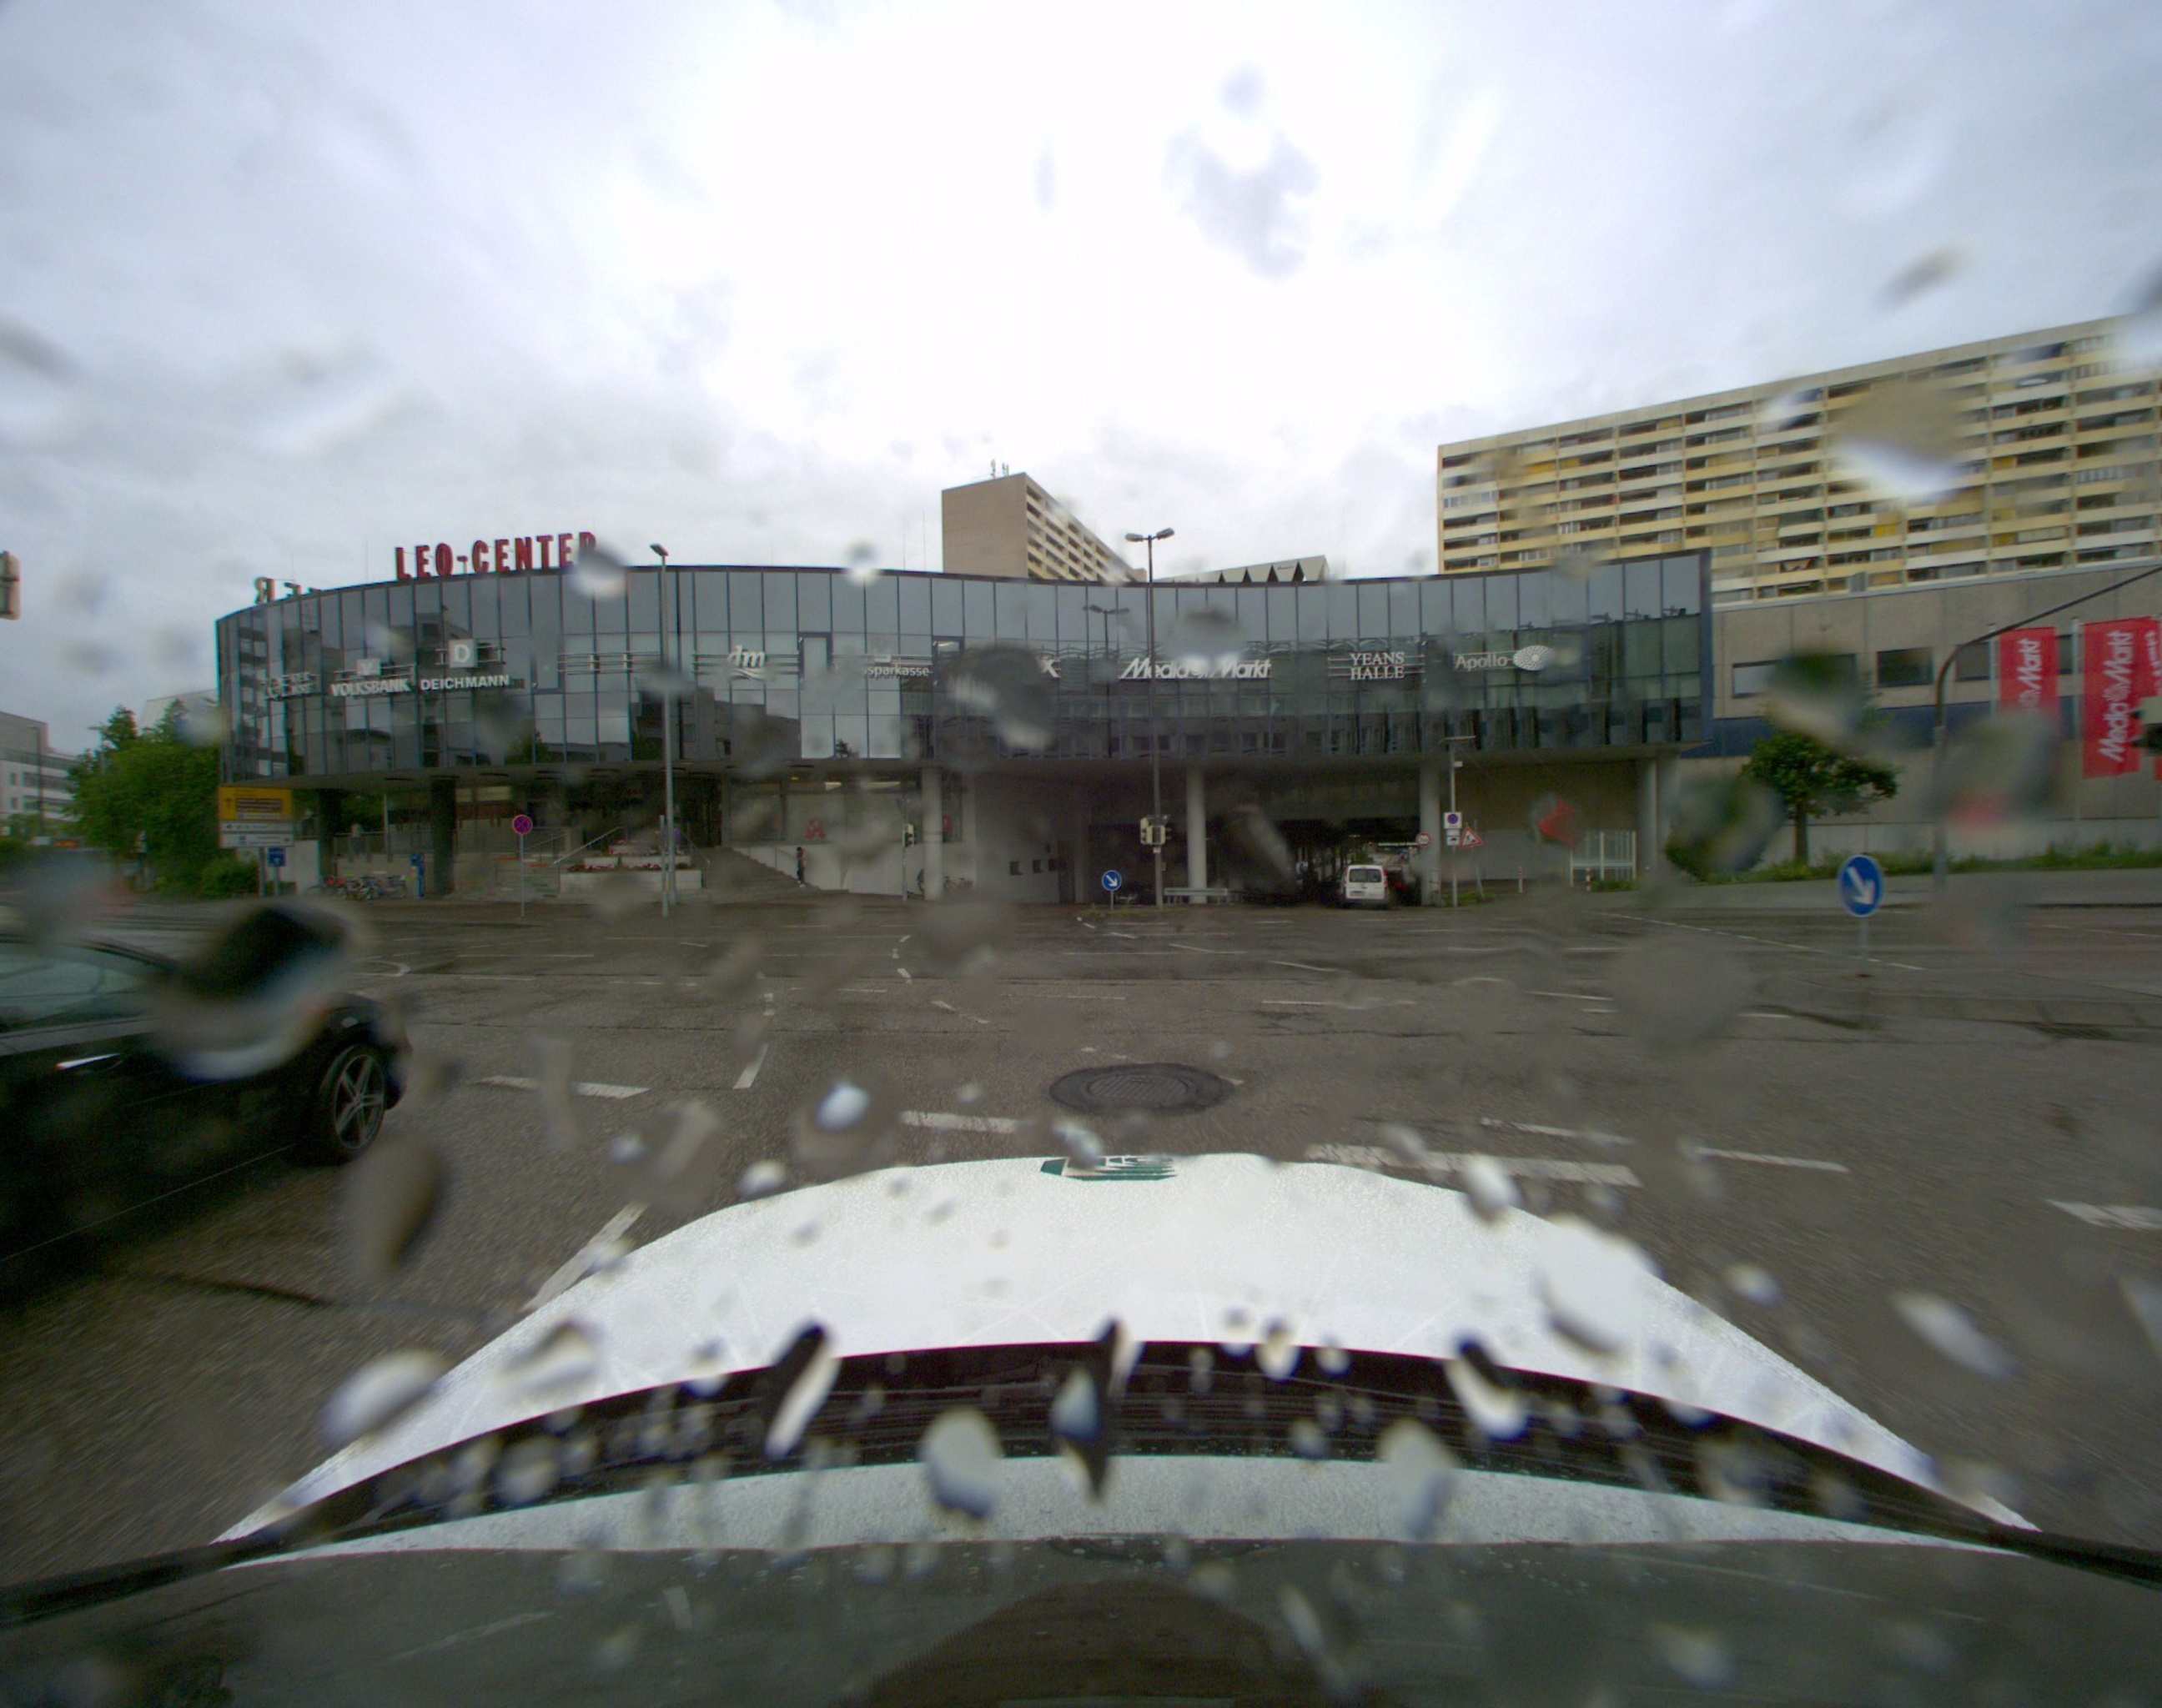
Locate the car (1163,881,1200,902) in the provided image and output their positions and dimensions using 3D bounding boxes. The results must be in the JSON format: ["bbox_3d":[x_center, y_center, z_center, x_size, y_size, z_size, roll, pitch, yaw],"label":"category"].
[{"bbox_3d":[7.389,2.741,59.634,1.755,1.464,3.895,-2,-2,21],"label":"car"}]

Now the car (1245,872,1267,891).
[{"bbox_3d":[17.310,2.725,80.471,1.822,1.727,4.018,-1,0,17],"label":"car"}]

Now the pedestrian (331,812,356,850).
[{"bbox_3d":[-33.875,-1.068,37.395,0.592,1.713,0.658,1,0,29],"label":"pedestrian"}]

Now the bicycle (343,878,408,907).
[{"bbox_3d":[-28.810,1.555,33.272,0.624,1.023,1.866,-2,2,24],"label":"bicycle"}]

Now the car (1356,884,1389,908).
[{"bbox_3d":[17.959,2.570,50.100,1.764,1.400,4.020,-2,-2,21],"label":"car"}]

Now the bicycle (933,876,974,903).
[{"bbox_3d":[-5.451,1.514,34.854,1.589,1.018,0.448,6,-2,-25],"label":"bicycle"}]

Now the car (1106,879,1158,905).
[{"bbox_3d":[3.083,2.266,48.074,1.876,1.470,4.047,-1,-4,22],"label":"car"}]

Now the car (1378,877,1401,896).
[{"bbox_3d":[28.151,2.945,74.396,1.872,1.491,3.859,1,0,19],"label":"car"}]

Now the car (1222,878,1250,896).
[{"bbox_3d":[14.471,3.059,75.971,1.898,1.588,3.959,-2,-1,21],"label":"car"}]

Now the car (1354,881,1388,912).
[{"bbox_3d":[16.120,2.379,45.110,1.619,1.612,4.283,-2,-4,21],"label":"car"}]

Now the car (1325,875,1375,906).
[{"bbox_3d":[13.518,1.869,40.801,1.741,1.464,3.965,-2,-4,26],"label":"car"}]

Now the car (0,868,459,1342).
[{"bbox_3d":[-4.423,0.848,2.972,1.662,1.481,4.081,0,0,-9],"label":"car"}]

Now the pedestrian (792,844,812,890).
[{"bbox_3d":[-11.624,0.545,33.945,0.654,1.908,0.594,0,0,-3],"label":"pedestrian"}]

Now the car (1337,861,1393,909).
[{"bbox_3d":[11.530,1.229,33.281,1.911,1.798,4.314,-1,-1,16],"label":"car"}]

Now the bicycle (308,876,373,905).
[{"bbox_3d":[-30.992,1.520,34.109,0.621,1.033,1.866,-2,2,24],"label":"bicycle"}]

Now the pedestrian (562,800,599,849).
[{"bbox_3d":[-20.811,-1.226,33.864,0.824,2.013,0.956,1,0,14],"label":"pedestrian"}]

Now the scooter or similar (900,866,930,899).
[{"bbox_3d":[-7.031,1.219,34.526,1.166,1.373,0.487,1,0,-10],"label":"scooter or similar"}]

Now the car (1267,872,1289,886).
[{"bbox_3d":[22.637,2.904,93.585,1.976,1.464,4.021,-2,-1,21],"label":"car"}]

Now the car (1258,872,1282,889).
[{"bbox_3d":[20.102,2.830,86.582,1.977,1.663,4.021,1,0,21],"label":"car"}]

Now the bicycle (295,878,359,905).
[{"bbox_3d":[-31.689,1.567,34.256,0.529,0.951,1.866,0,3,27],"label":"bicycle"}]

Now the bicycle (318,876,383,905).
[{"bbox_3d":[-30.299,1.512,33.820,0.639,1.042,1.866,-2,2,24],"label":"bicycle"}]
